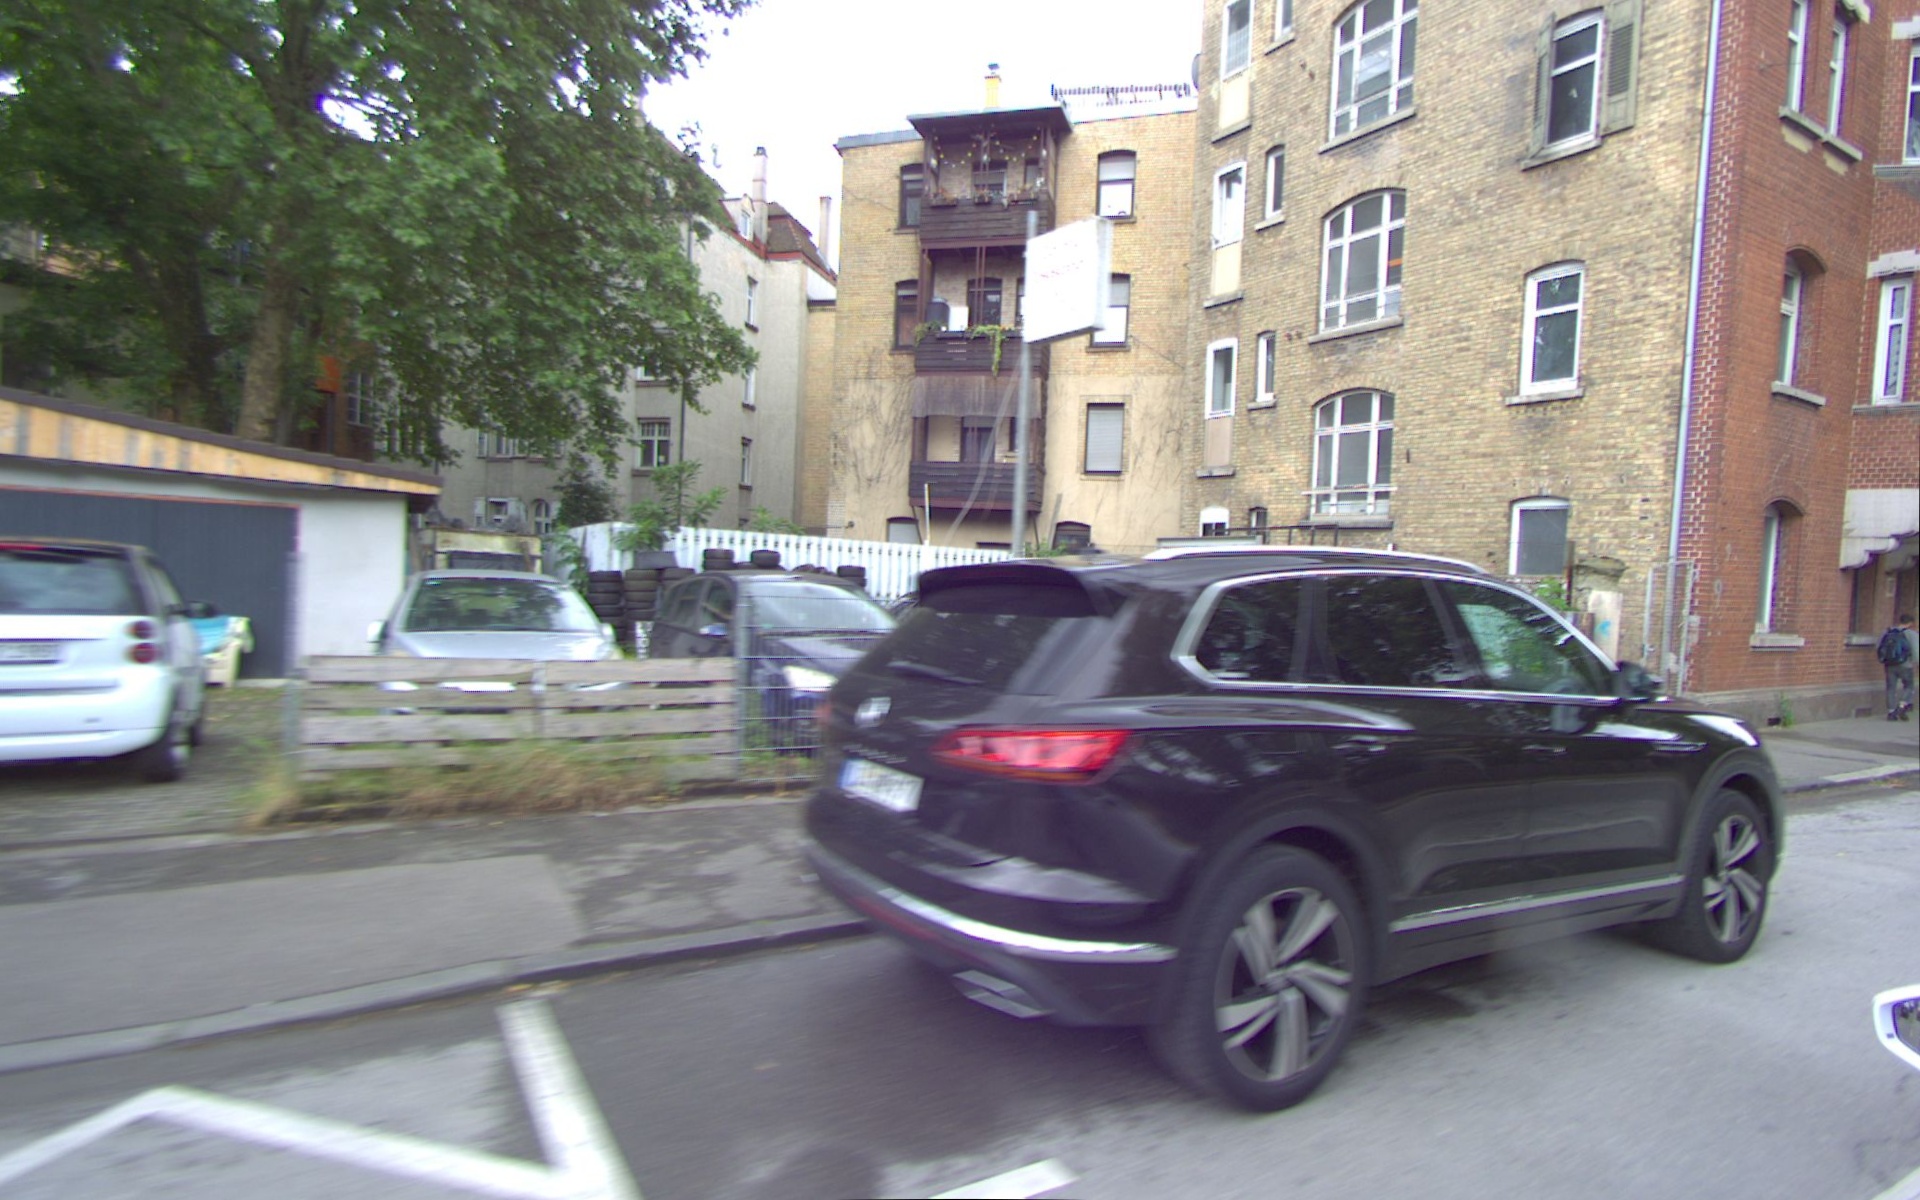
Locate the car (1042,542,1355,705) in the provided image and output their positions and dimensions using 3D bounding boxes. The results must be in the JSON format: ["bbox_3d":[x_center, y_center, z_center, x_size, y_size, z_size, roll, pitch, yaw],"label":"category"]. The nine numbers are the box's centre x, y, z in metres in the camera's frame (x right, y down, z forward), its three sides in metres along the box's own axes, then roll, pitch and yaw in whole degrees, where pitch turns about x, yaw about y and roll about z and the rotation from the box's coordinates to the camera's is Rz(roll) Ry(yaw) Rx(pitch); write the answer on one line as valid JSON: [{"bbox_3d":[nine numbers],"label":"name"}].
[{"bbox_3d":[2.697,0.216,12.099,1.668,1.634,3.579,1,1,-29],"label":"car"}]

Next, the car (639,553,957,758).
[{"bbox_3d":[-1.705,0.392,9.496,1.831,1.524,3.579,1,1,-29],"label":"car"}]

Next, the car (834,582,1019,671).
[{"bbox_3d":[-0.512,0.389,18.082,1.647,1.392,3.501,3,2,32],"label":"car"}]

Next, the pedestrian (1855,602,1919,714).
[{"bbox_3d":[14.471,0.875,15.532,0.625,1.631,0.656,0,5,-30],"label":"pedestrian"}]

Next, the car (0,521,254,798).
[{"bbox_3d":[-6.212,0.312,6.981,1.831,1.586,2.834,1,1,-29],"label":"car"}]

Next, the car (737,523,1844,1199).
[{"bbox_3d":[1.630,0.676,4.396,4.718,1.757,1.944,1,3,-31],"label":"car"}]

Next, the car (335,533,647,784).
[{"bbox_3d":[-3.899,0.336,8.189,1.831,1.524,3.706,1,1,-29],"label":"car"}]

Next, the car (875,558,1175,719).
[{"bbox_3d":[0.525,0.323,10.898,1.528,1.433,3.579,1,1,-29],"label":"car"}]
